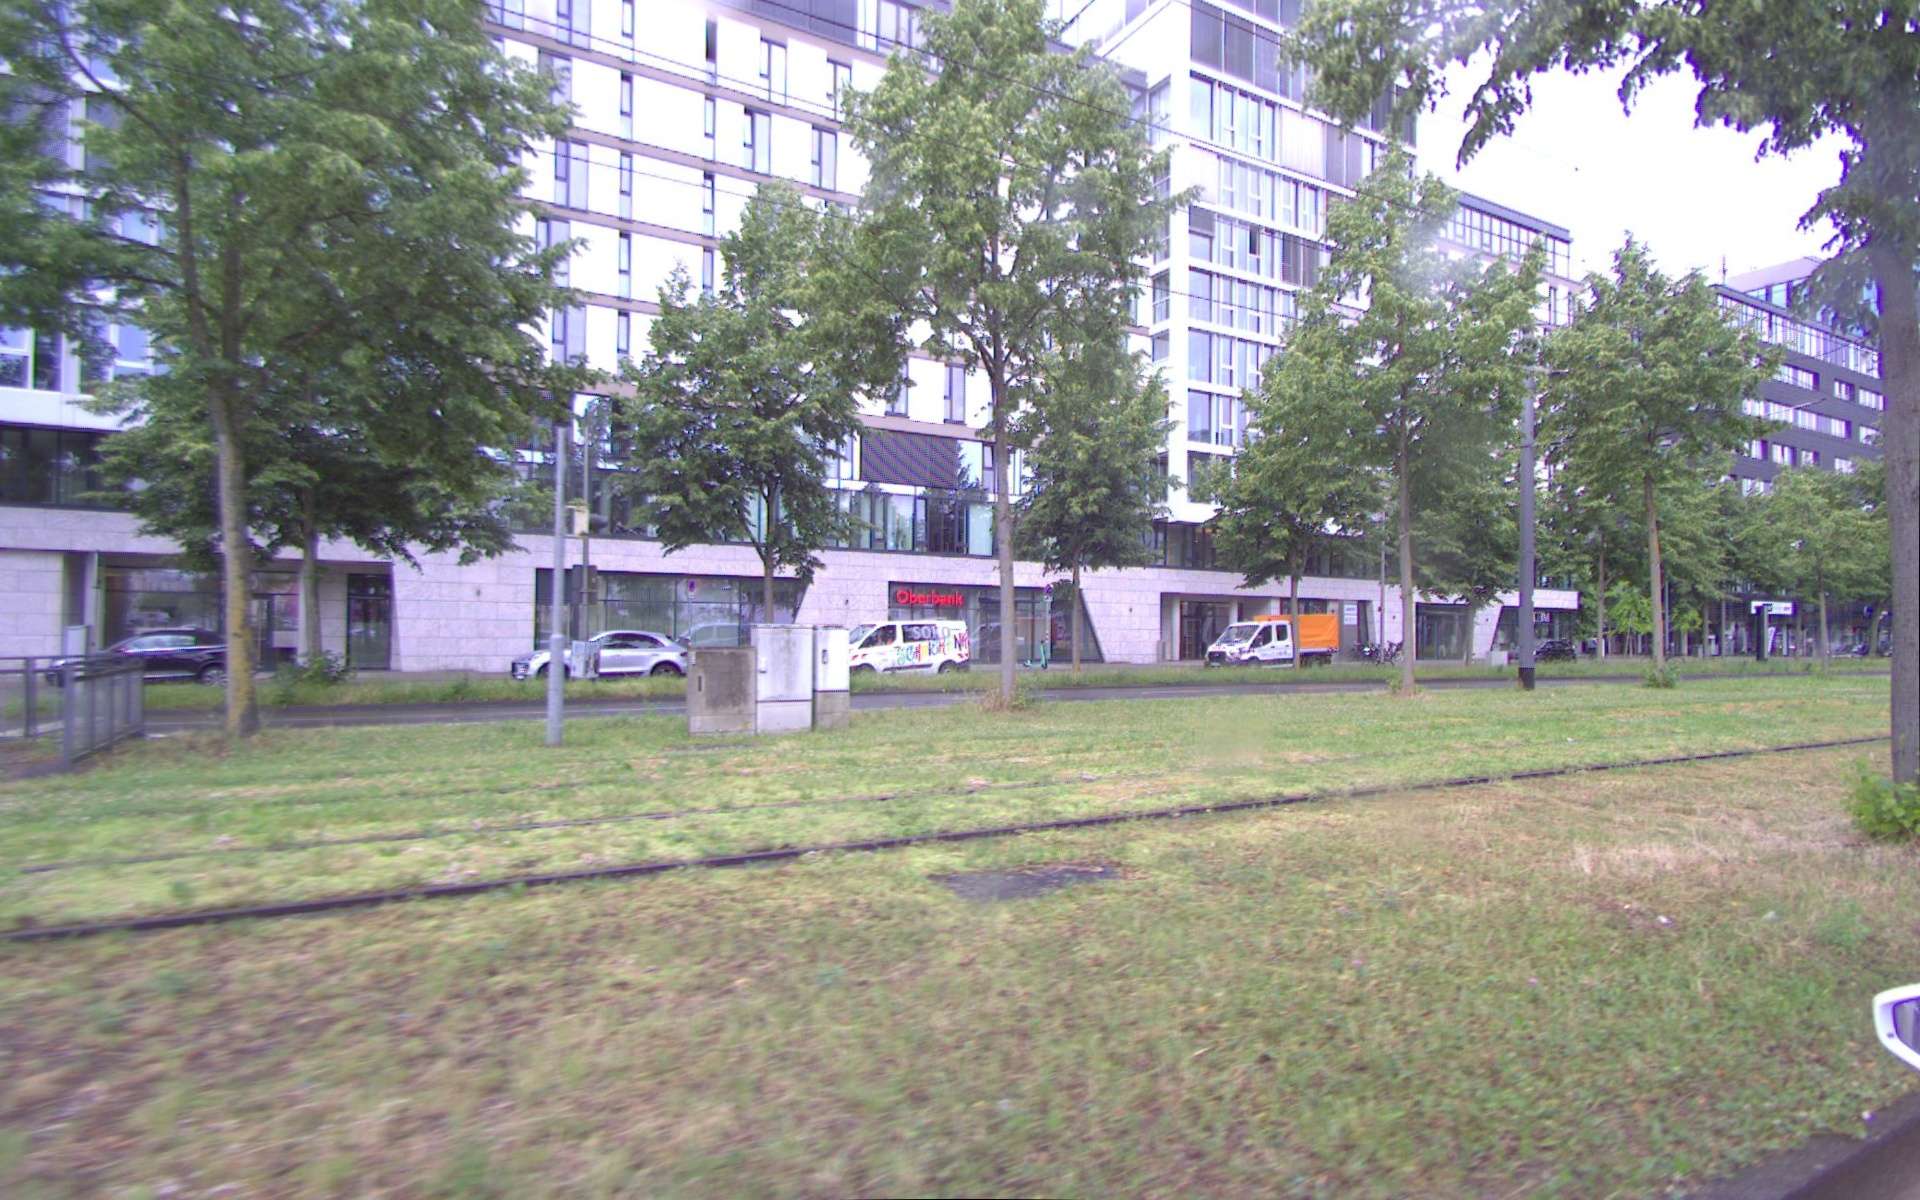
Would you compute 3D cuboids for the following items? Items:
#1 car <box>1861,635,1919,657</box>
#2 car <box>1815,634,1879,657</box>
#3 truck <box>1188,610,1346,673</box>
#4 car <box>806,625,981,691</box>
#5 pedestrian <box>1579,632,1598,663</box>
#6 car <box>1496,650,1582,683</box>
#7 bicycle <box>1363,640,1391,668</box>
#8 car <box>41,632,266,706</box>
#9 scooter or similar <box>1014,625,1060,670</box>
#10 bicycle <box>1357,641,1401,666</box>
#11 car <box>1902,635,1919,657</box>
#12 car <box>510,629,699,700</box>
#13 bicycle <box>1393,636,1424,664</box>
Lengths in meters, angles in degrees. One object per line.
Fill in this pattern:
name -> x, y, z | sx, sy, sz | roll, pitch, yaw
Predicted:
car -> 63.764, 3.129, 68.773 | 3.952, 1.396, 1.984 | 1, -1, -30
car -> 58.168, 2.993, 65.877 | 3.952, 1.396, 1.984 | 1, -1, -30
truck -> 12.217, 1.637, 39.837 | 6.234, 2.322, 2.415 | 1, -1, -30
car -> -2.020, 1.746, 31.131 | 5.104, 1.876, 1.984 | 1, -1, -30
pedestrian -> 42.287, 3.194, 67.546 | 0.846, 2.007, 0.790 | 1, -1, -31
car -> 27.478, 3.132, 47.674 | 3.942, 1.484, 1.846 | 2, -2, -30
bicycle -> 23.349, 3.033, 56.248 | 0.540, 1.502, 1.425 | 1, -1, -30
car -> -20.325, 1.709, 25.574 | 4.143, 1.716, 1.984 | 1, -1, -30
scooter or similar -> 3.258, 2.011, 42.668 | 0.875, 1.849, 2.112 | 1, -1, -33
bicycle -> 16.526, 2.120, 39.627 | 1.734, 0.957, 0.597 | 1, -2, -26
car -> 69.088, 3.287, 71.627 | 4.191, 1.468, 1.694 | 1, -1, -30
car -> -9.390, 1.654, 26.593 | 4.411, 1.735, 2.135 | 1, -2, -30
bicycle -> 25.859, 2.873, 57.897 | 0.600, 1.559, 1.560 | 1, -1, -30
